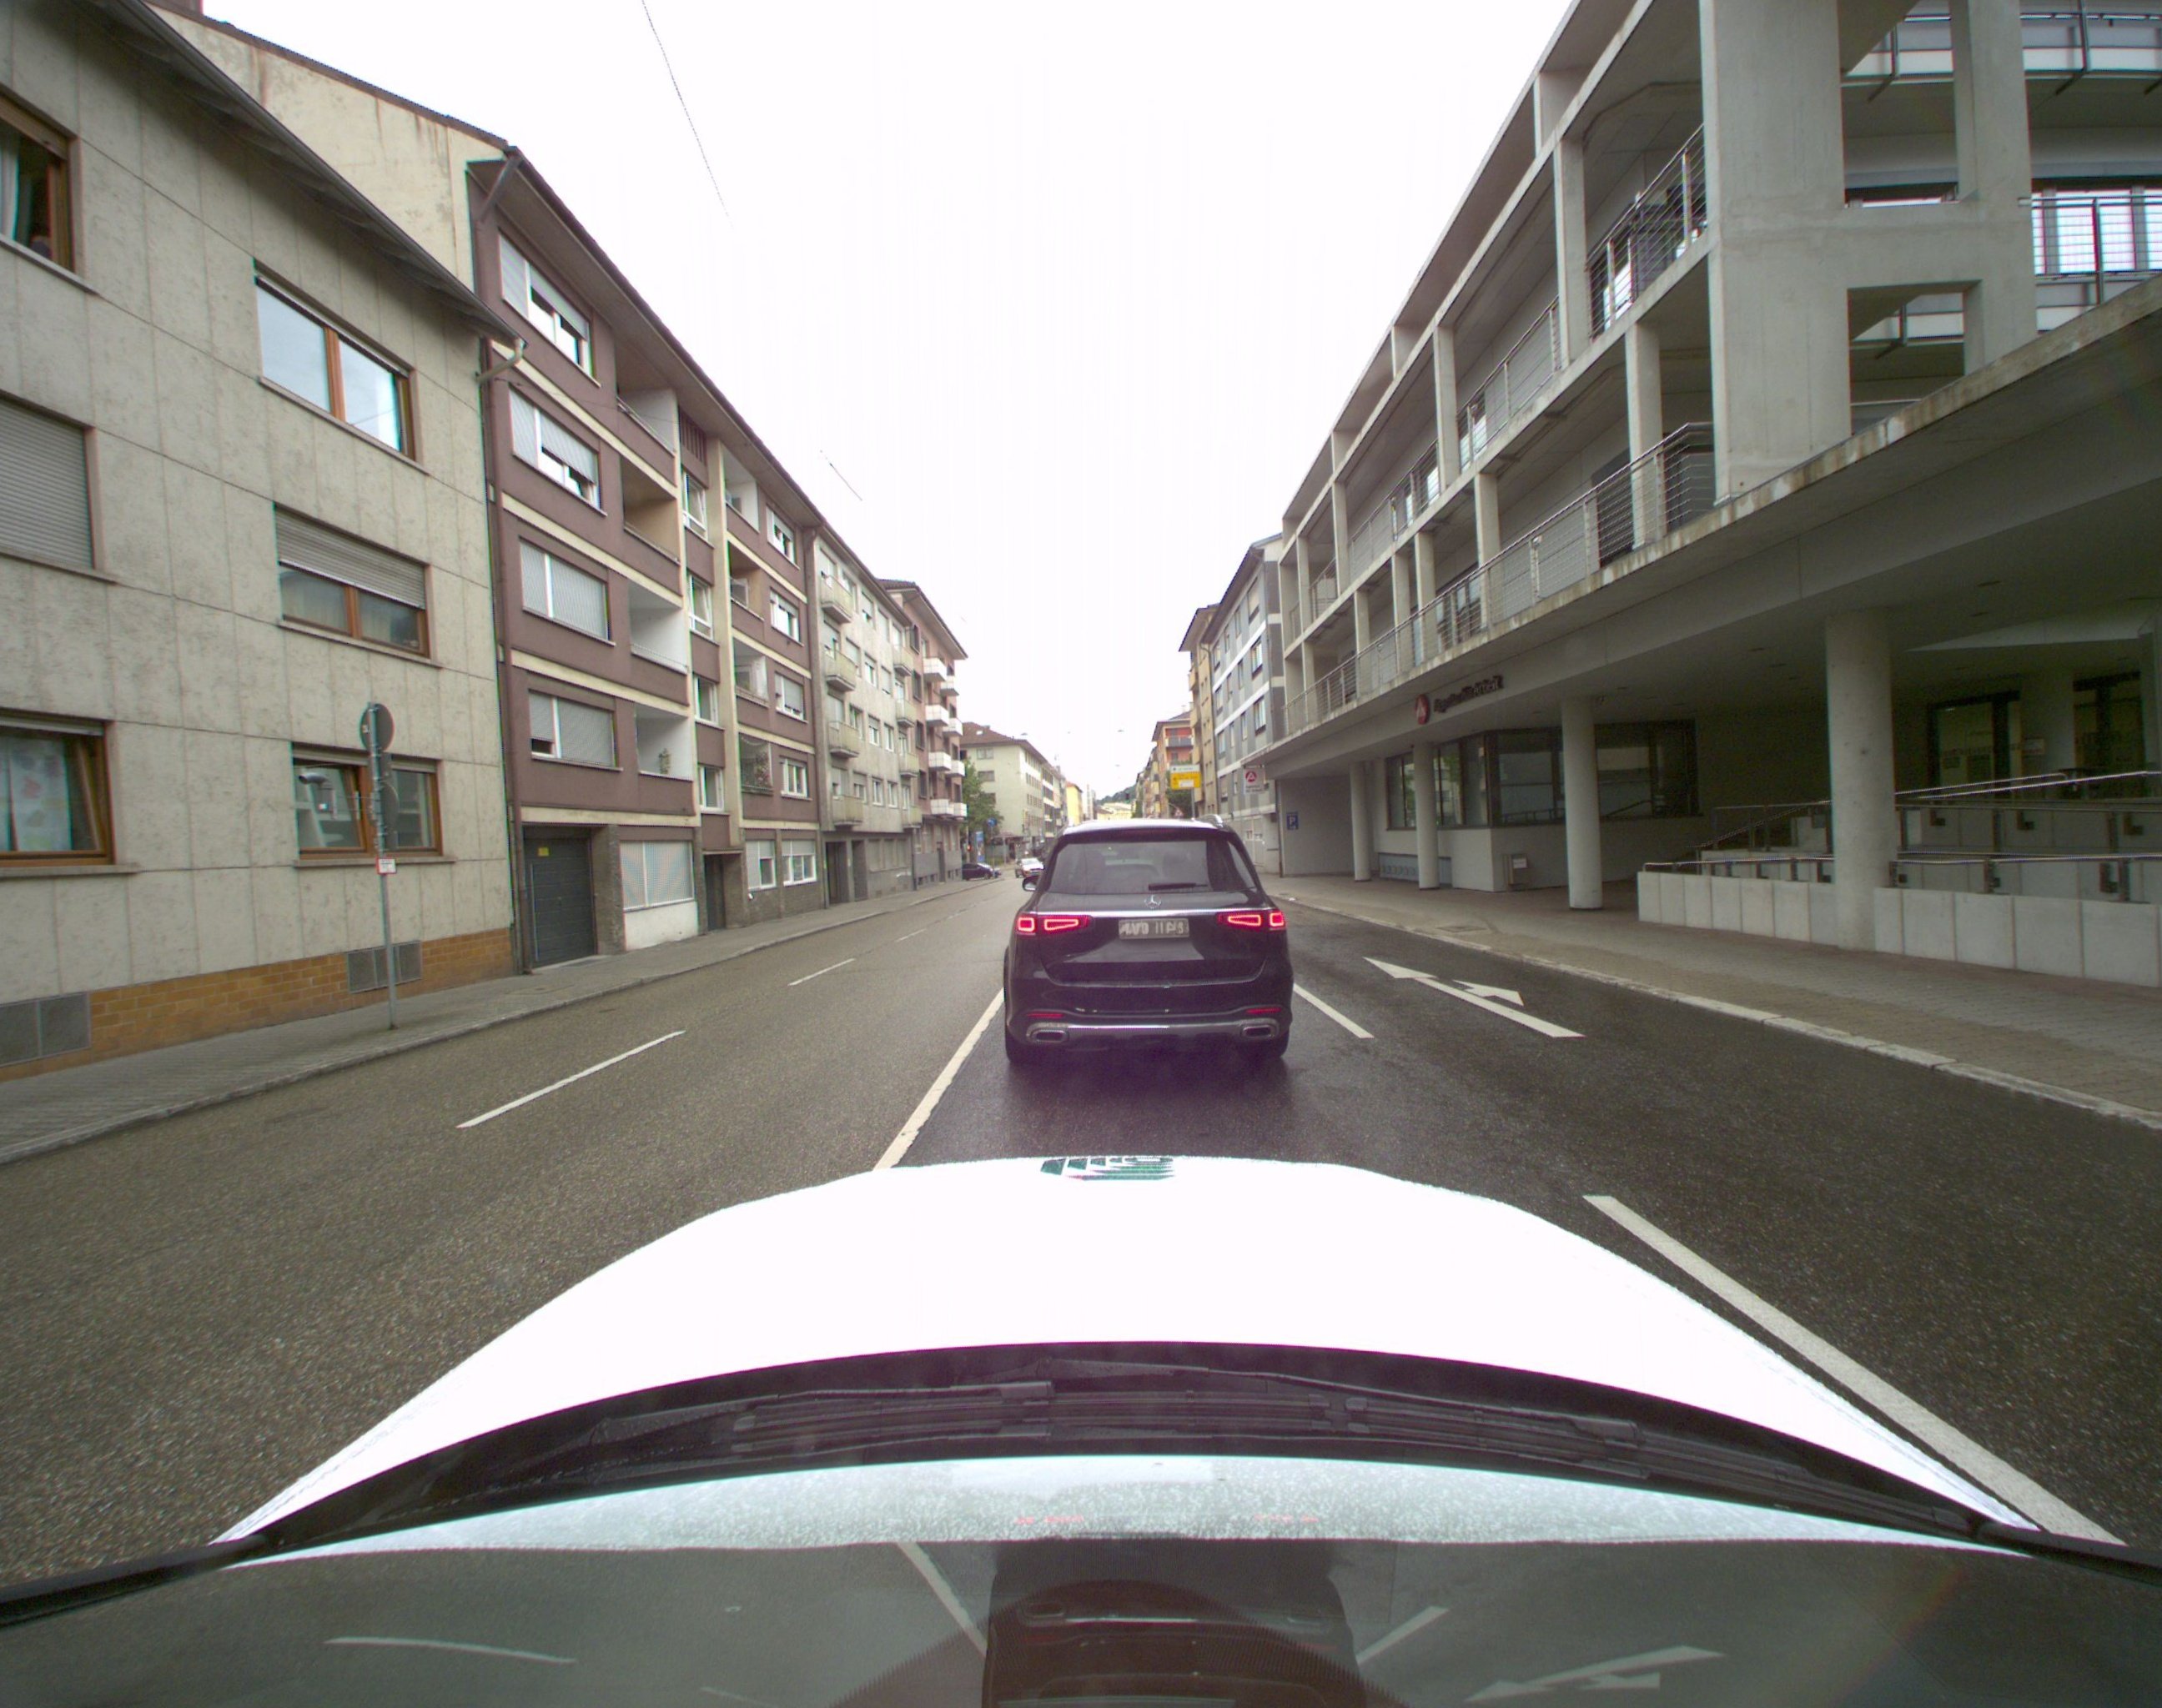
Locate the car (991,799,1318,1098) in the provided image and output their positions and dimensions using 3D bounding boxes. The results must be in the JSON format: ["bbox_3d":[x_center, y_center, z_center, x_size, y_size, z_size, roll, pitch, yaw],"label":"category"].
[{"bbox_3d":[0.514,0.595,7.149,1.977,1.805,4.391,0,-1,2],"label":"car"}]

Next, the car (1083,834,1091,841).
[{"bbox_3d":[1.468,-3.923,193.983,1.613,1.539,4.216,-4,-1,0],"label":"car"}]

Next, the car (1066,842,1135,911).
[{"bbox_3d":[0.497,0.603,23.412,1.746,1.731,4.216,-3,-1,0],"label":"car"}]

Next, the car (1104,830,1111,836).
[{"bbox_3d":[7.538,-5.892,230.151,1.613,1.539,4.216,-4,-1,0],"label":"car"}]

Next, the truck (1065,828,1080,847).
[{"bbox_3d":[-1.587,-3.152,157.384,2.472,3.046,9.917,-4,-1,0],"label":"truck"}]

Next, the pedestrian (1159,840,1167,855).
[{"bbox_3d":[10.149,-0.824,100.795,0.920,1.804,0.706,-3,0,0],"label":"pedestrian"}]

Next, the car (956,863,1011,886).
[{"bbox_3d":[-8.673,1.843,72.572,4.324,1.706,2.006,-3,0,11],"label":"car"}]

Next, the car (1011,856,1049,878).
[{"bbox_3d":[-4.179,1.041,65.757,1.779,1.539,4.327,-4,-1,-21],"label":"car"}]

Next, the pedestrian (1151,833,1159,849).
[{"bbox_3d":[9.706,-1.741,107.319,0.920,2.013,0.706,-3,0,0],"label":"pedestrian"}]

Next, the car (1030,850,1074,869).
[{"bbox_3d":[-2.883,0.510,80.439,4.163,1.539,1.832,-5,-1,40],"label":"car"}]

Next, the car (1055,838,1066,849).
[{"bbox_3d":[-3.287,-1.699,131.962,1.613,1.539,4.216,-4,-1,0],"label":"car"}]

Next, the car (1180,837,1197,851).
[{"bbox_3d":[12.477,-1.151,94.430,1.664,1.588,3.334,-3,0,4],"label":"car"}]

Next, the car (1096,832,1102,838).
[{"bbox_3d":[5.596,-5.964,250.373,1.613,1.539,4.216,-4,-1,0],"label":"car"}]

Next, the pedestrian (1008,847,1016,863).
[{"bbox_3d":[-8.696,0.119,102.452,0.920,1.902,0.706,-3,0,0],"label":"pedestrian"}]

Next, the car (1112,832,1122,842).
[{"bbox_3d":[7.092,-3.311,159.965,1.718,1.760,4.216,-4,-1,0],"label":"car"}]

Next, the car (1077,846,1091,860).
[{"bbox_3d":[0.392,-0.125,101.443,1.613,1.539,4.216,-4,-1,0],"label":"car"}]
